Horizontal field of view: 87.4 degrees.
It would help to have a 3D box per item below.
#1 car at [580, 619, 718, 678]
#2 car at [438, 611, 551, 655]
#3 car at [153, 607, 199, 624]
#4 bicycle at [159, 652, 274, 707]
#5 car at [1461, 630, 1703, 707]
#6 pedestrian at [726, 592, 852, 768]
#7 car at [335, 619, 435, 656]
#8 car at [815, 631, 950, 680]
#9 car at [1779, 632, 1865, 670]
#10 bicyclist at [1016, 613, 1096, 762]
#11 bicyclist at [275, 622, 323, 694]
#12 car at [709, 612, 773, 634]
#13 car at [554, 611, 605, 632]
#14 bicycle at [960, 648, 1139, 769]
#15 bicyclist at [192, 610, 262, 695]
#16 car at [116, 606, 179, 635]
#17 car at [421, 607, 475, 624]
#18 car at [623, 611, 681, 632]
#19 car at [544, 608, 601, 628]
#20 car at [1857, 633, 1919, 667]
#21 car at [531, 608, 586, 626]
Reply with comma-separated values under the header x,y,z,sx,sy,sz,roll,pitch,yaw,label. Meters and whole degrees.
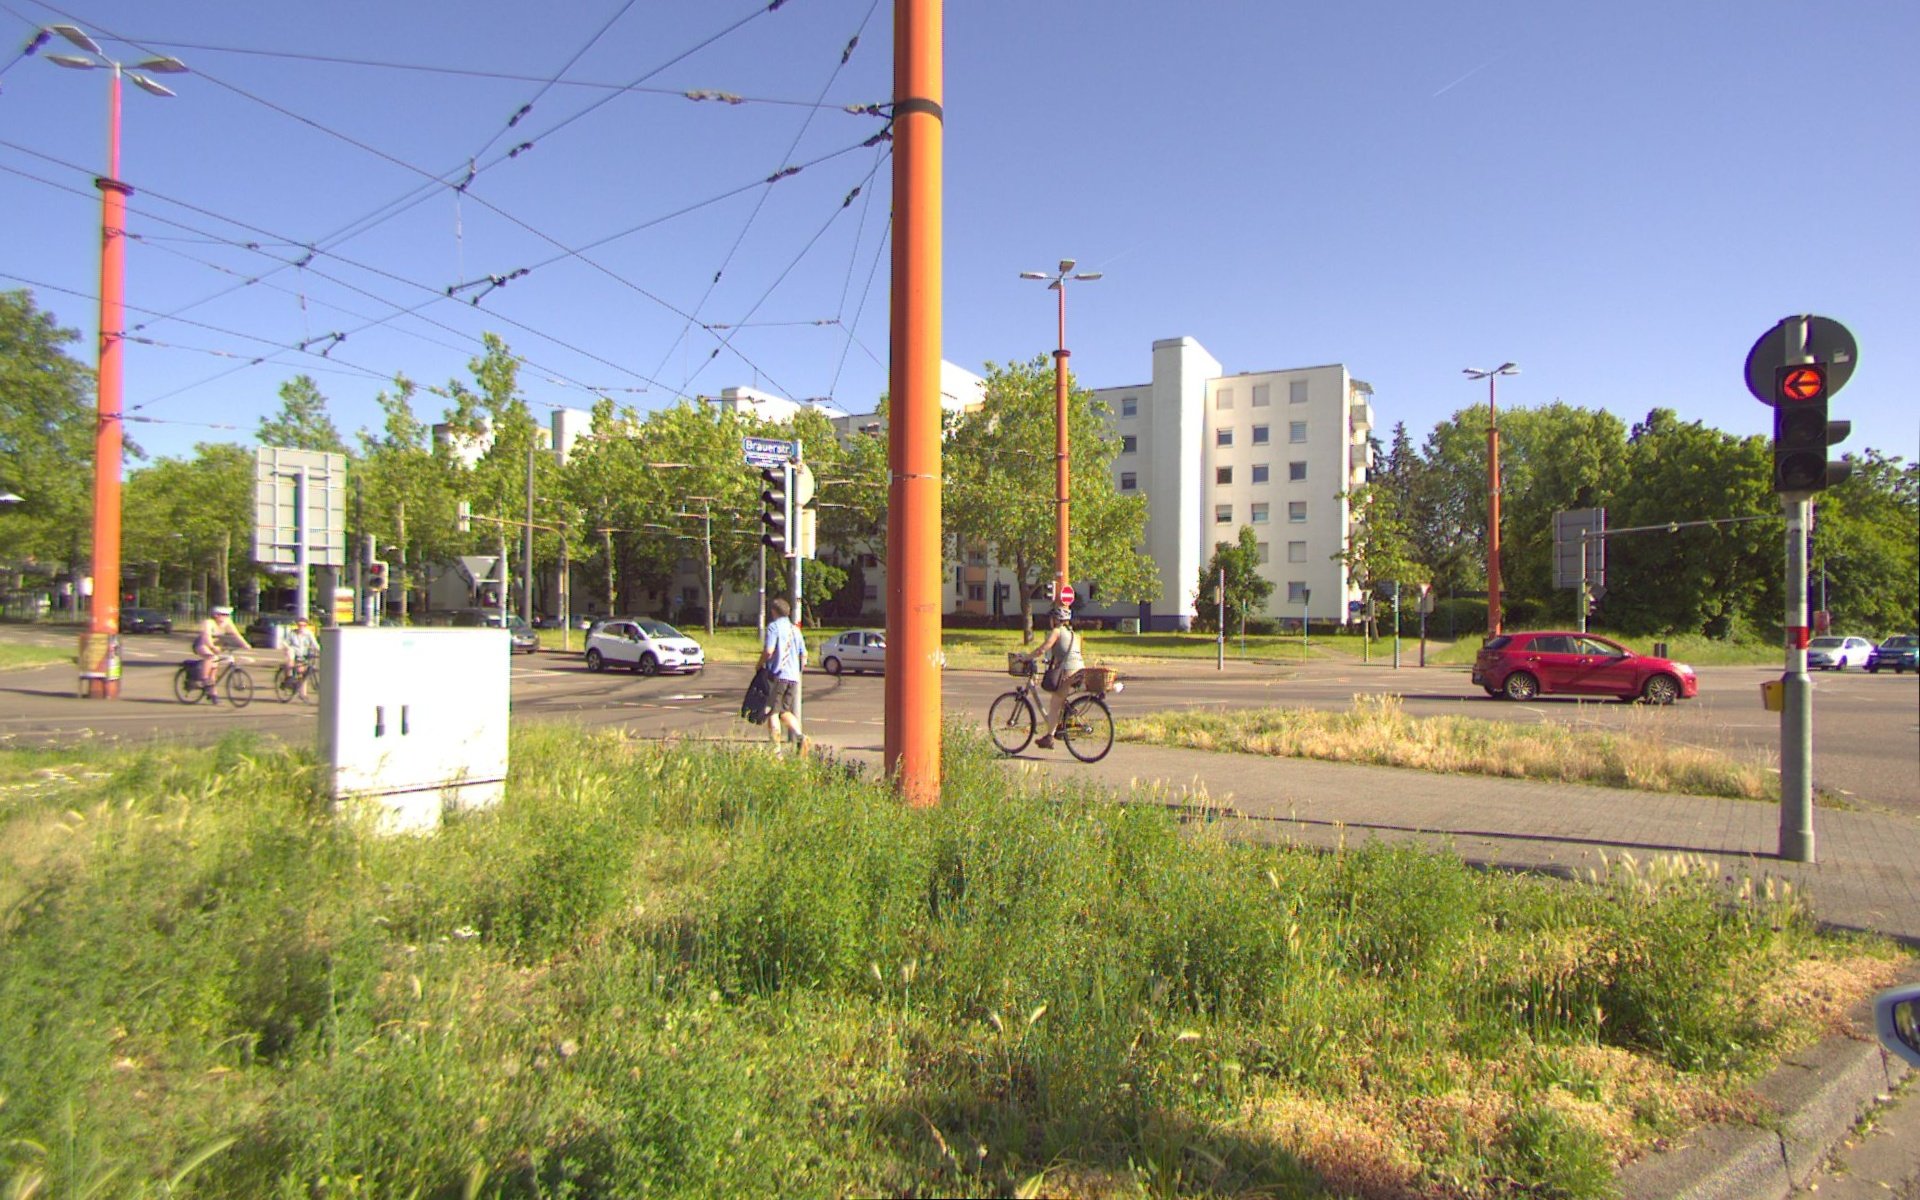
x,y,z,sx,sy,sz,roll,pitch,yaw,label
-9.607,1.449,30.947,4.180,1.658,1.824,0,-1,33,car
-18.929,1.311,40.804,4.225,1.730,1.850,0,-1,24,car
-93.978,1.874,120.455,1.969,2.040,3.984,0,-1,38,car
-13.977,1.483,18.910,1.612,0.974,0.685,1,-1,-1,bicycle
12.868,1.380,21.049,3.983,1.454,1.687,0,-1,14,car
-1.878,0.837,11.054,0.973,1.817,0.951,0,-1,38,pedestrian
-22.792,1.454,39.765,4.290,1.368,1.760,0,-1,34,car
-2.382,1.668,30.847,3.925,1.363,1.486,0,-1,26,car
37.730,2.195,43.949,3.891,1.552,1.752,1,-1,-31,car
1.087,0.957,11.332,0.651,1.605,0.671,0,-1,33,bicyclist
-13.136,1.140,19.967,0.616,1.399,0.443,1,-1,-1,bicyclist
-14.531,1.545,66.843,1.770,1.428,3.987,0,-1,35,car
-26.389,1.480,69.623,3.944,1.416,1.746,0,-2,44,car
0.996,1.180,11.387,1.915,1.210,0.690,0,-1,33,bicycle
-13.829,0.979,18.962,0.752,1.565,0.732,1,-1,-1,bicyclist
-50.599,1.276,62.533,4.233,1.730,1.847,0,-1,33,car
-44.778,1.381,87.895,3.935,1.428,1.794,1,-1,-17,car
-22.277,1.544,72.763,3.934,1.428,1.794,1,-1,-16,car
-30.065,1.412,78.075,3.934,1.428,1.794,1,-1,-16,car
37.168,1.957,39.623,3.571,1.260,1.730,1,-1,-31,car
-31.927,1.363,79.972,3.935,1.428,1.794,1,-1,-17,car
